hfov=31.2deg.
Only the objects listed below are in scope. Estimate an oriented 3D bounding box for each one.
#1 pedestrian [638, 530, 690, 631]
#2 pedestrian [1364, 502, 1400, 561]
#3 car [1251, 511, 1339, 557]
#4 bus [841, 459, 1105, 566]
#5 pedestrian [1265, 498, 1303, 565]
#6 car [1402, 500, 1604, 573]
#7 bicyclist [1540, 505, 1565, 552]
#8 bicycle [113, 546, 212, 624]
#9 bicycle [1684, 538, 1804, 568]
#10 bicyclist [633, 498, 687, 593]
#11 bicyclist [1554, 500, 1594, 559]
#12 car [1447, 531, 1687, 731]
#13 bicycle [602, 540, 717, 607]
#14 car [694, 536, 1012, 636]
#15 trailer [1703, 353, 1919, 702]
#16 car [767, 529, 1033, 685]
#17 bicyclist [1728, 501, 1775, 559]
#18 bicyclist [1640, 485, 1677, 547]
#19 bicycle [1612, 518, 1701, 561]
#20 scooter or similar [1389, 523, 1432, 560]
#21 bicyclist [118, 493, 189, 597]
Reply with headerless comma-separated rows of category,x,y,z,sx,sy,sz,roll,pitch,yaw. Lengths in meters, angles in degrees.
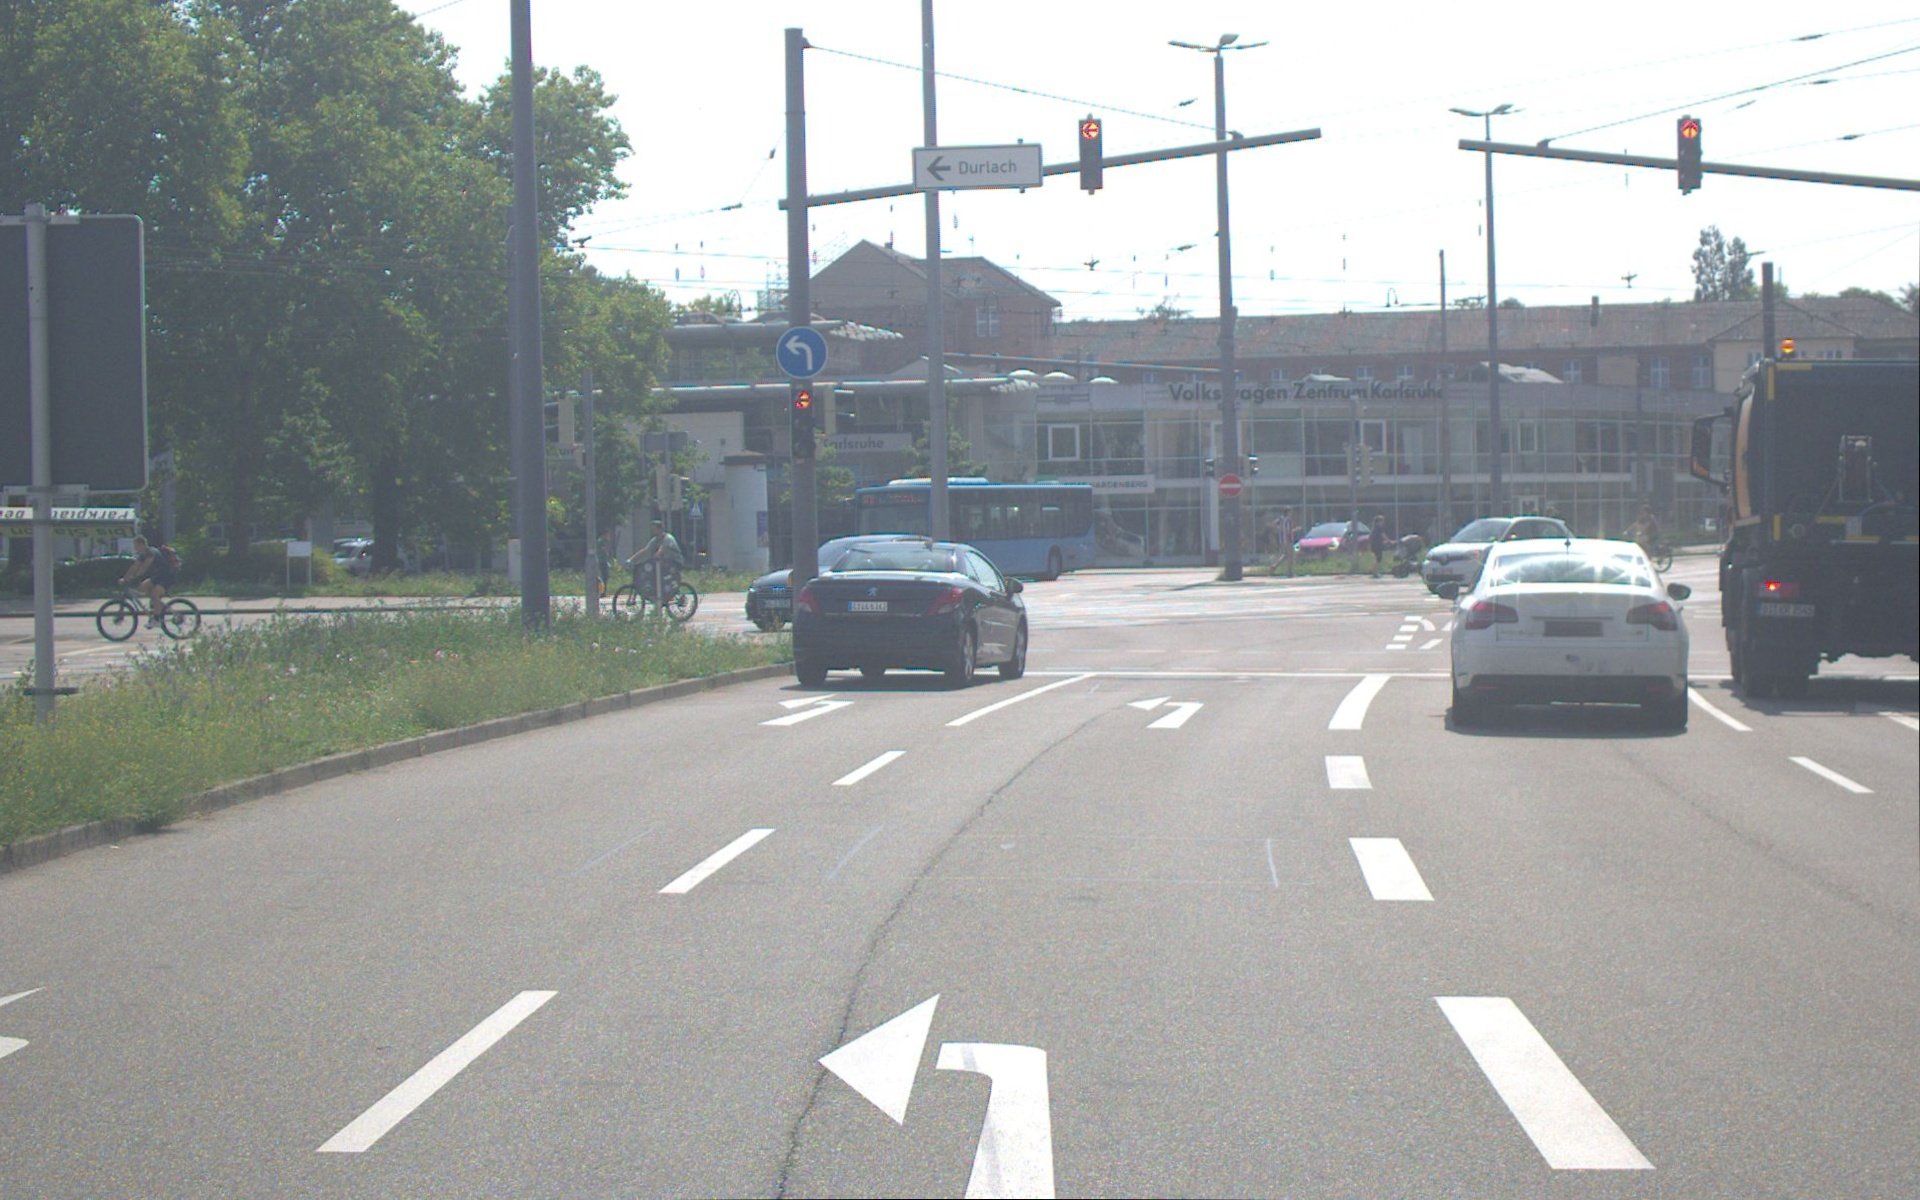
pedestrian,-3.832,-0.259,44.501,0.595,1.264,0.505,-1,4,-10
pedestrian,11.174,-1.821,91.089,0.635,1.555,0.748,-1,1,-24
car,10.624,-2.099,108.768,1.730,1.415,3.836,0,2,23
bus,0.562,-2.567,99.849,3.057,2.921,11.838,0,2,25
pedestrian,8.554,-1.807,90.715,0.784,1.746,0.808,0,1,23
car,11.137,-1.303,70.399,4.054,1.420,1.775,-2,2,-38
bicyclist,15.001,-1.801,87.024,0.504,1.184,0.506,0,1,25
bicycle,-12.715,-0.256,54.740,0.972,1.174,2.832,-1,2,-25
bicycle,20.464,-1.236,89.753,2.934,0.725,0.865,-1,1,-10
bicyclist,-5.242,-0.963,60.124,0.692,1.644,0.618,1,2,42
bicyclist,16.081,-1.854,90.072,0.797,1.536,0.763,-1,1,-11
car,4.866,0.184,27.877,1.758,1.450,4.424,0,2,9
bicycle,-5.248,-0.468,60.133,0.698,1.133,2.039,0,1,42
car,-1.660,-0.244,53.780,4.549,1.433,2.000,-2,1,-31
trailer,8.557,-0.714,32.834,2.464,2.997,6.323,1,2,9
car,-0.520,0.017,33.728,1.759,1.399,3.979,0,2,12
bicyclist,20.671,-1.823,89.770,0.903,1.496,0.865,-1,1,-10
bicyclist,18.585,-2.242,91.473,0.761,1.628,0.763,-1,1,-7
bicycle,18.534,-1.614,91.479,2.196,1.083,0.763,-1,1,-7
scooter or similar,11.993,-1.563,91.441,0.835,0.971,0.793,-1,2,-24
bicyclist,-12.959,-0.889,55.249,0.972,1.648,0.662,-1,1,-25
